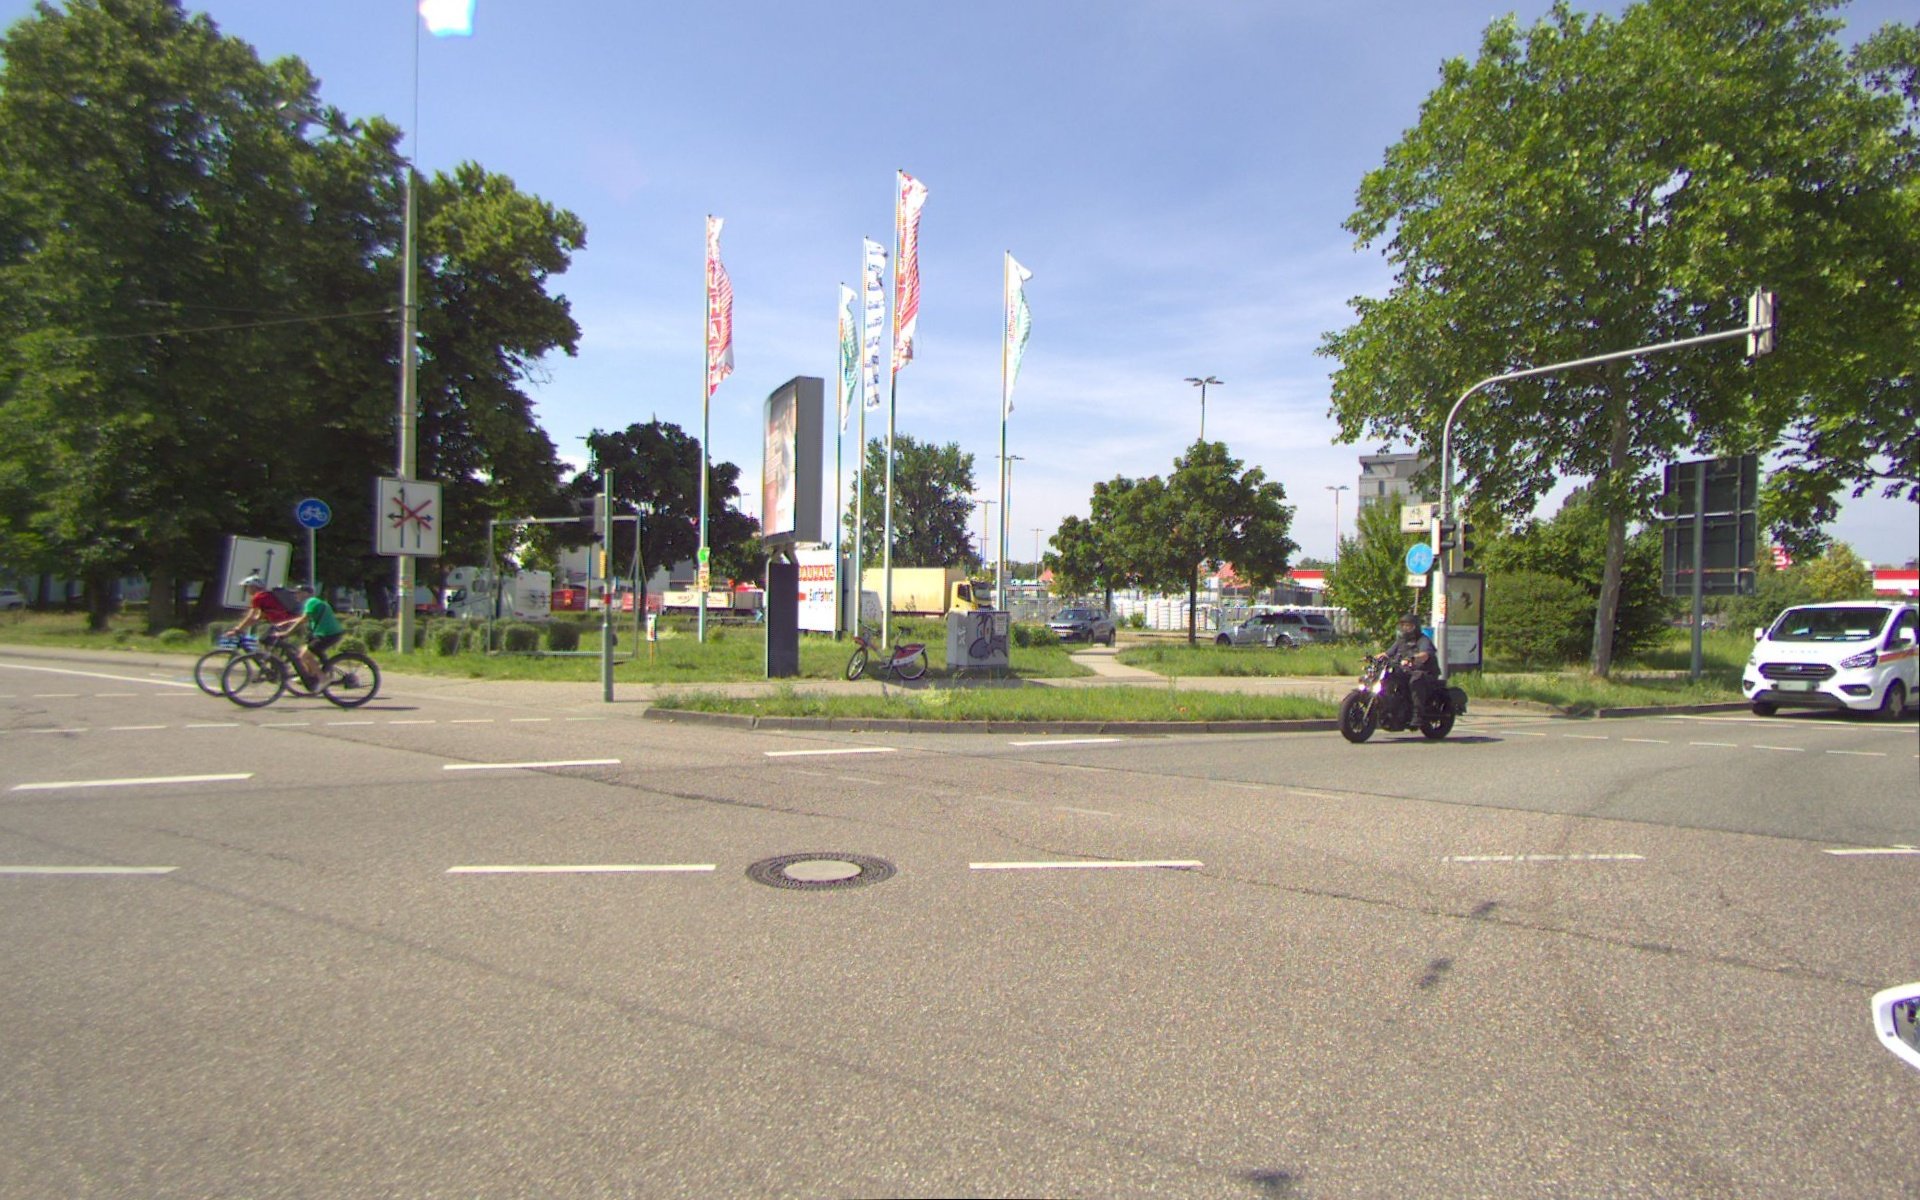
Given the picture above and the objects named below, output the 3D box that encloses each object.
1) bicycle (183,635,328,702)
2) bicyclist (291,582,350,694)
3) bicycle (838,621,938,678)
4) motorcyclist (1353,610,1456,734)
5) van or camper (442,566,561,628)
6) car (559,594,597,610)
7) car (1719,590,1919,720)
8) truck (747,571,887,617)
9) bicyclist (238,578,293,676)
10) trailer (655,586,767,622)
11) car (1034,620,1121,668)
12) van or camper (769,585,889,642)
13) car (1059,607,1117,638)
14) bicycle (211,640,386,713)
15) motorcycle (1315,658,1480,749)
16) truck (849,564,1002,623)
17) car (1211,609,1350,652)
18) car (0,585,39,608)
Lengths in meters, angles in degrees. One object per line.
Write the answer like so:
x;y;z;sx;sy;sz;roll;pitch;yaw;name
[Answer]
-10.553;1.006;15.111;1.729;0.950;0.432;1;0;-28;bicycle
-8.864;0.521;13.947;0.601;1.511;0.526;1;0;-24;bicyclist
-1.393;0.956;19.429;1.862;1.051;0.595;1;0;-13;bicycle
5.642;0.885;12.763;0.974;1.490;0.740;0;0;-27;motorcyclist
-24.857;-0.194;54.415;6.211;3.142;2.707;1;0;30;van or camper
-46.148;0.249;121.328;1.815;1.818;3.991;1;0;31;car
15.784;0.876;17.612;4.966;2.026;1.969;1;0;-27;car
-9.770;-0.411;67.989;9.437;2.930;2.923;1;0;27;truck
-10.463;0.402;15.153;0.601;1.433;0.525;1;0;-28;bicyclist
-18.059;0.259;72.623;8.063;2.523;2.921;1;0;29;trailer
4.453;1.577;37.464;2.157;1.593;4.576;1;0;21;car
-5.440;0.538;42.612;2.157;2.239;5.509;1;0;29;van or camper
7.046;1.204;55.099;1.788;1.593;4.274;1;0;27;car
-9.070;1.033;13.856;1.971;0.950;0.414;1;0;-26;bicycle
5.548;1.277;12.701;2.188;1.004;0.685;1;0;-27;motorcycle
-2.108;-0.413;60.459;8.759;3.356;3.157;1;0;27;truck
11.712;1.073;36.999;2.177;1.433;4.535;1;0;-33;car
-68.364;-0.273;71.063;1.842;1.585;4.373;1;0;31;car
